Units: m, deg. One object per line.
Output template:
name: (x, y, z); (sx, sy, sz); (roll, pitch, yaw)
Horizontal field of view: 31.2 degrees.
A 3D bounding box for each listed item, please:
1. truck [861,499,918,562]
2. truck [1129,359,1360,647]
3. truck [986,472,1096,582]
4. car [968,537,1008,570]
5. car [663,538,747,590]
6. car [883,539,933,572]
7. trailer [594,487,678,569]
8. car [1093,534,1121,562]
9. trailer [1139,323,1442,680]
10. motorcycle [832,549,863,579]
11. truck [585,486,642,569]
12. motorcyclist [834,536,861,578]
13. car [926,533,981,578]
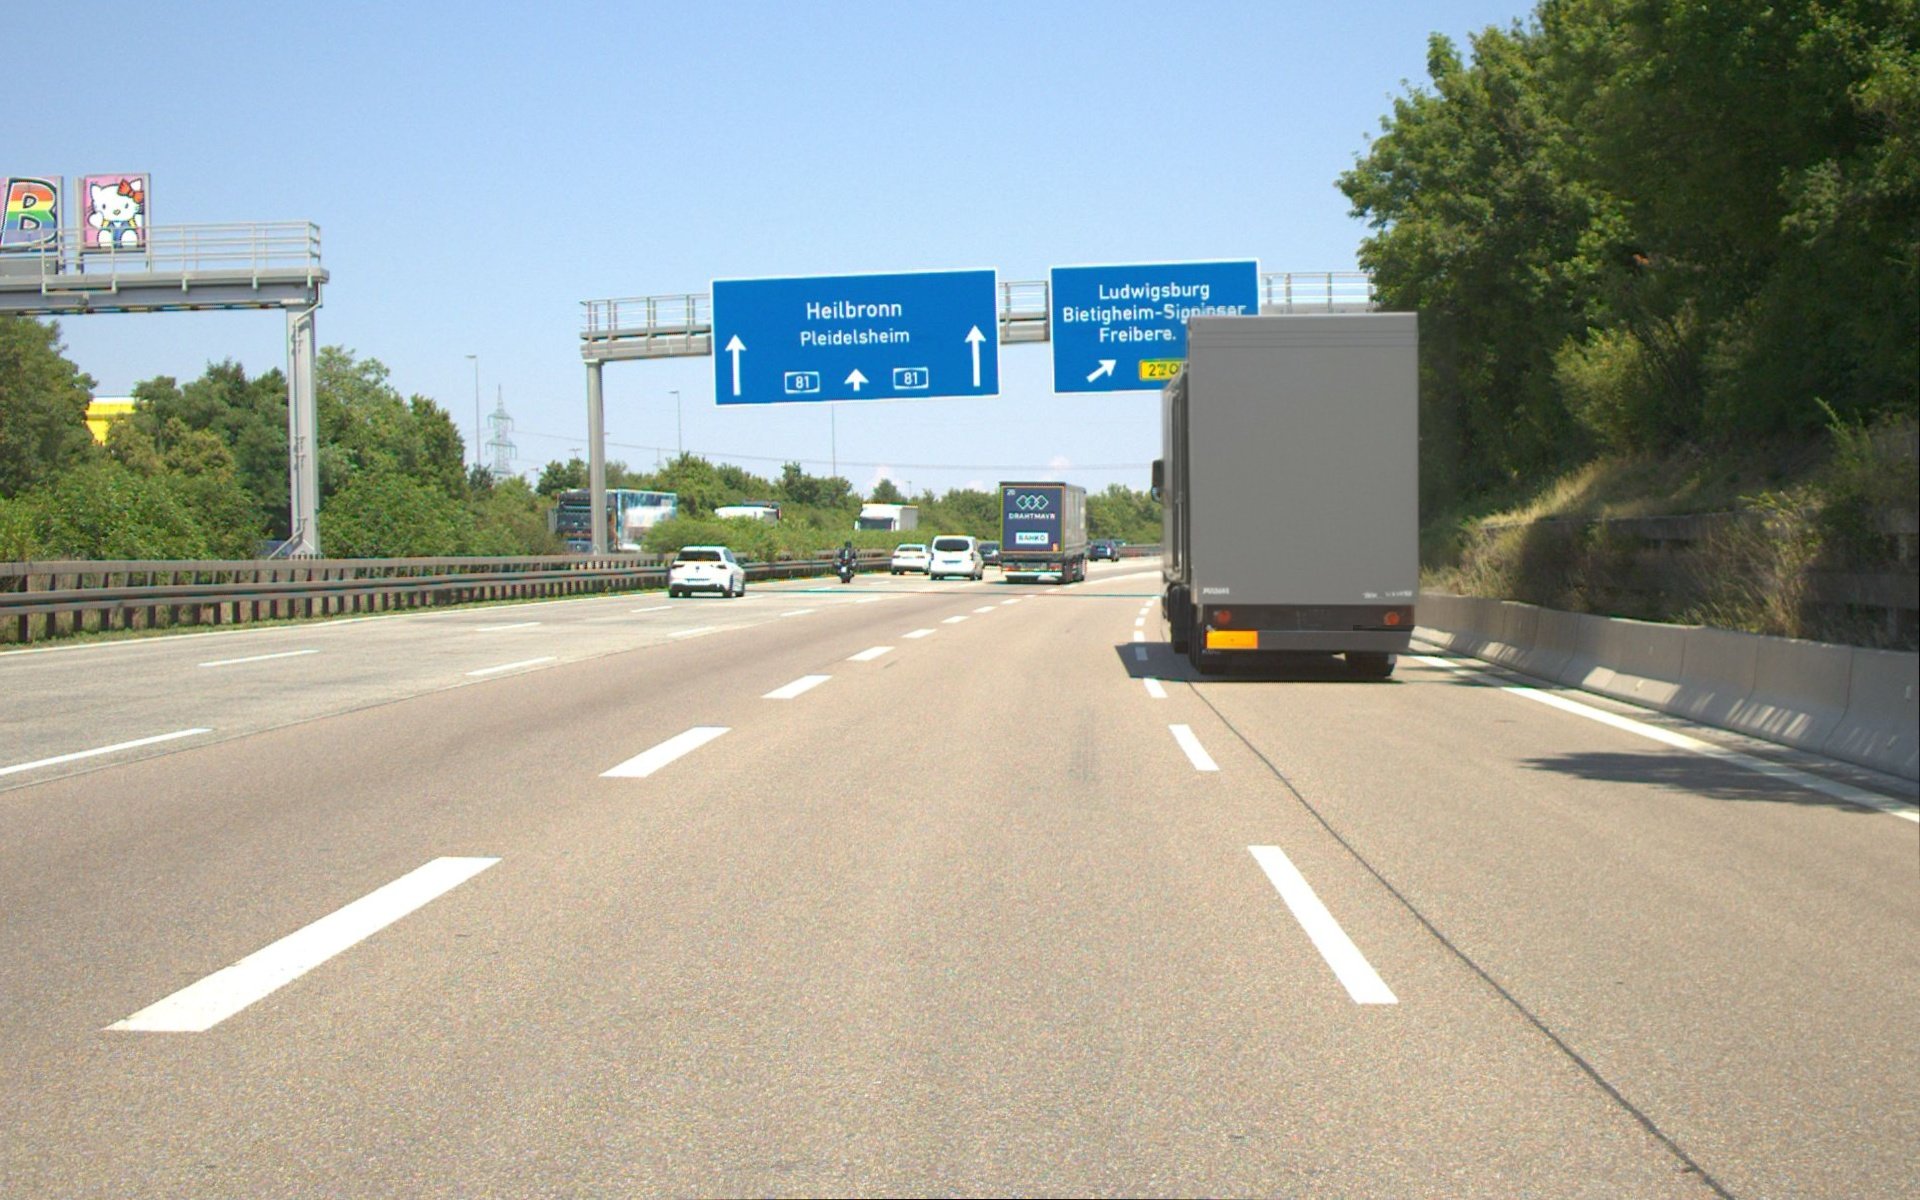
truck: (-4.792, -4.759, 236.338); (2.753, 4.193, 10.401); (1, 1, 5)
truck: (4.169, -1.476, 51.951); (2.928, 4.001, 7.584); (-1, 2, 1)
truck: (3.439, -2.998, 141.454); (3.747, 4.255, 14.494); (1, 1, 4)
car: (1.606, -2.582, 192.147); (1.877, 1.777, 5.125); (0, 0, 4)
car: (-7.226, -1.026, 97.858); (1.782, 1.435, 4.668); (0, 1, 3)
car: (-2.426, -2.075, 161.551); (1.877, 1.435, 5.125); (0, 0, 4)
trailer: (-16.129, -3.586, 172.078); (1.994, 3.909, 14.001); (1, 1, 4)
car: (11.031, -3.890, 257.880); (1.877, 1.995, 5.125); (0, 0, 4)
trailer: (4.050, -1.297, 44.846); (2.928, 4.001, 12.039); (-1, 2, 1)
motorcycle: (-4.290, -1.375, 131.232); (0.913, 1.085, 2.849); (0, 0, 3)
truck: (-16.587, -3.468, 164.878); (1.994, 3.883, 4.341); (1, 1, 4)
motorcyclist: (-4.286, -1.635, 131.280); (0.893, 1.591, 1.299); (0, 0, 4)
car: (-0.258, -1.871, 145.425); (1.931, 1.845, 4.691); (-1, 1, 5)
